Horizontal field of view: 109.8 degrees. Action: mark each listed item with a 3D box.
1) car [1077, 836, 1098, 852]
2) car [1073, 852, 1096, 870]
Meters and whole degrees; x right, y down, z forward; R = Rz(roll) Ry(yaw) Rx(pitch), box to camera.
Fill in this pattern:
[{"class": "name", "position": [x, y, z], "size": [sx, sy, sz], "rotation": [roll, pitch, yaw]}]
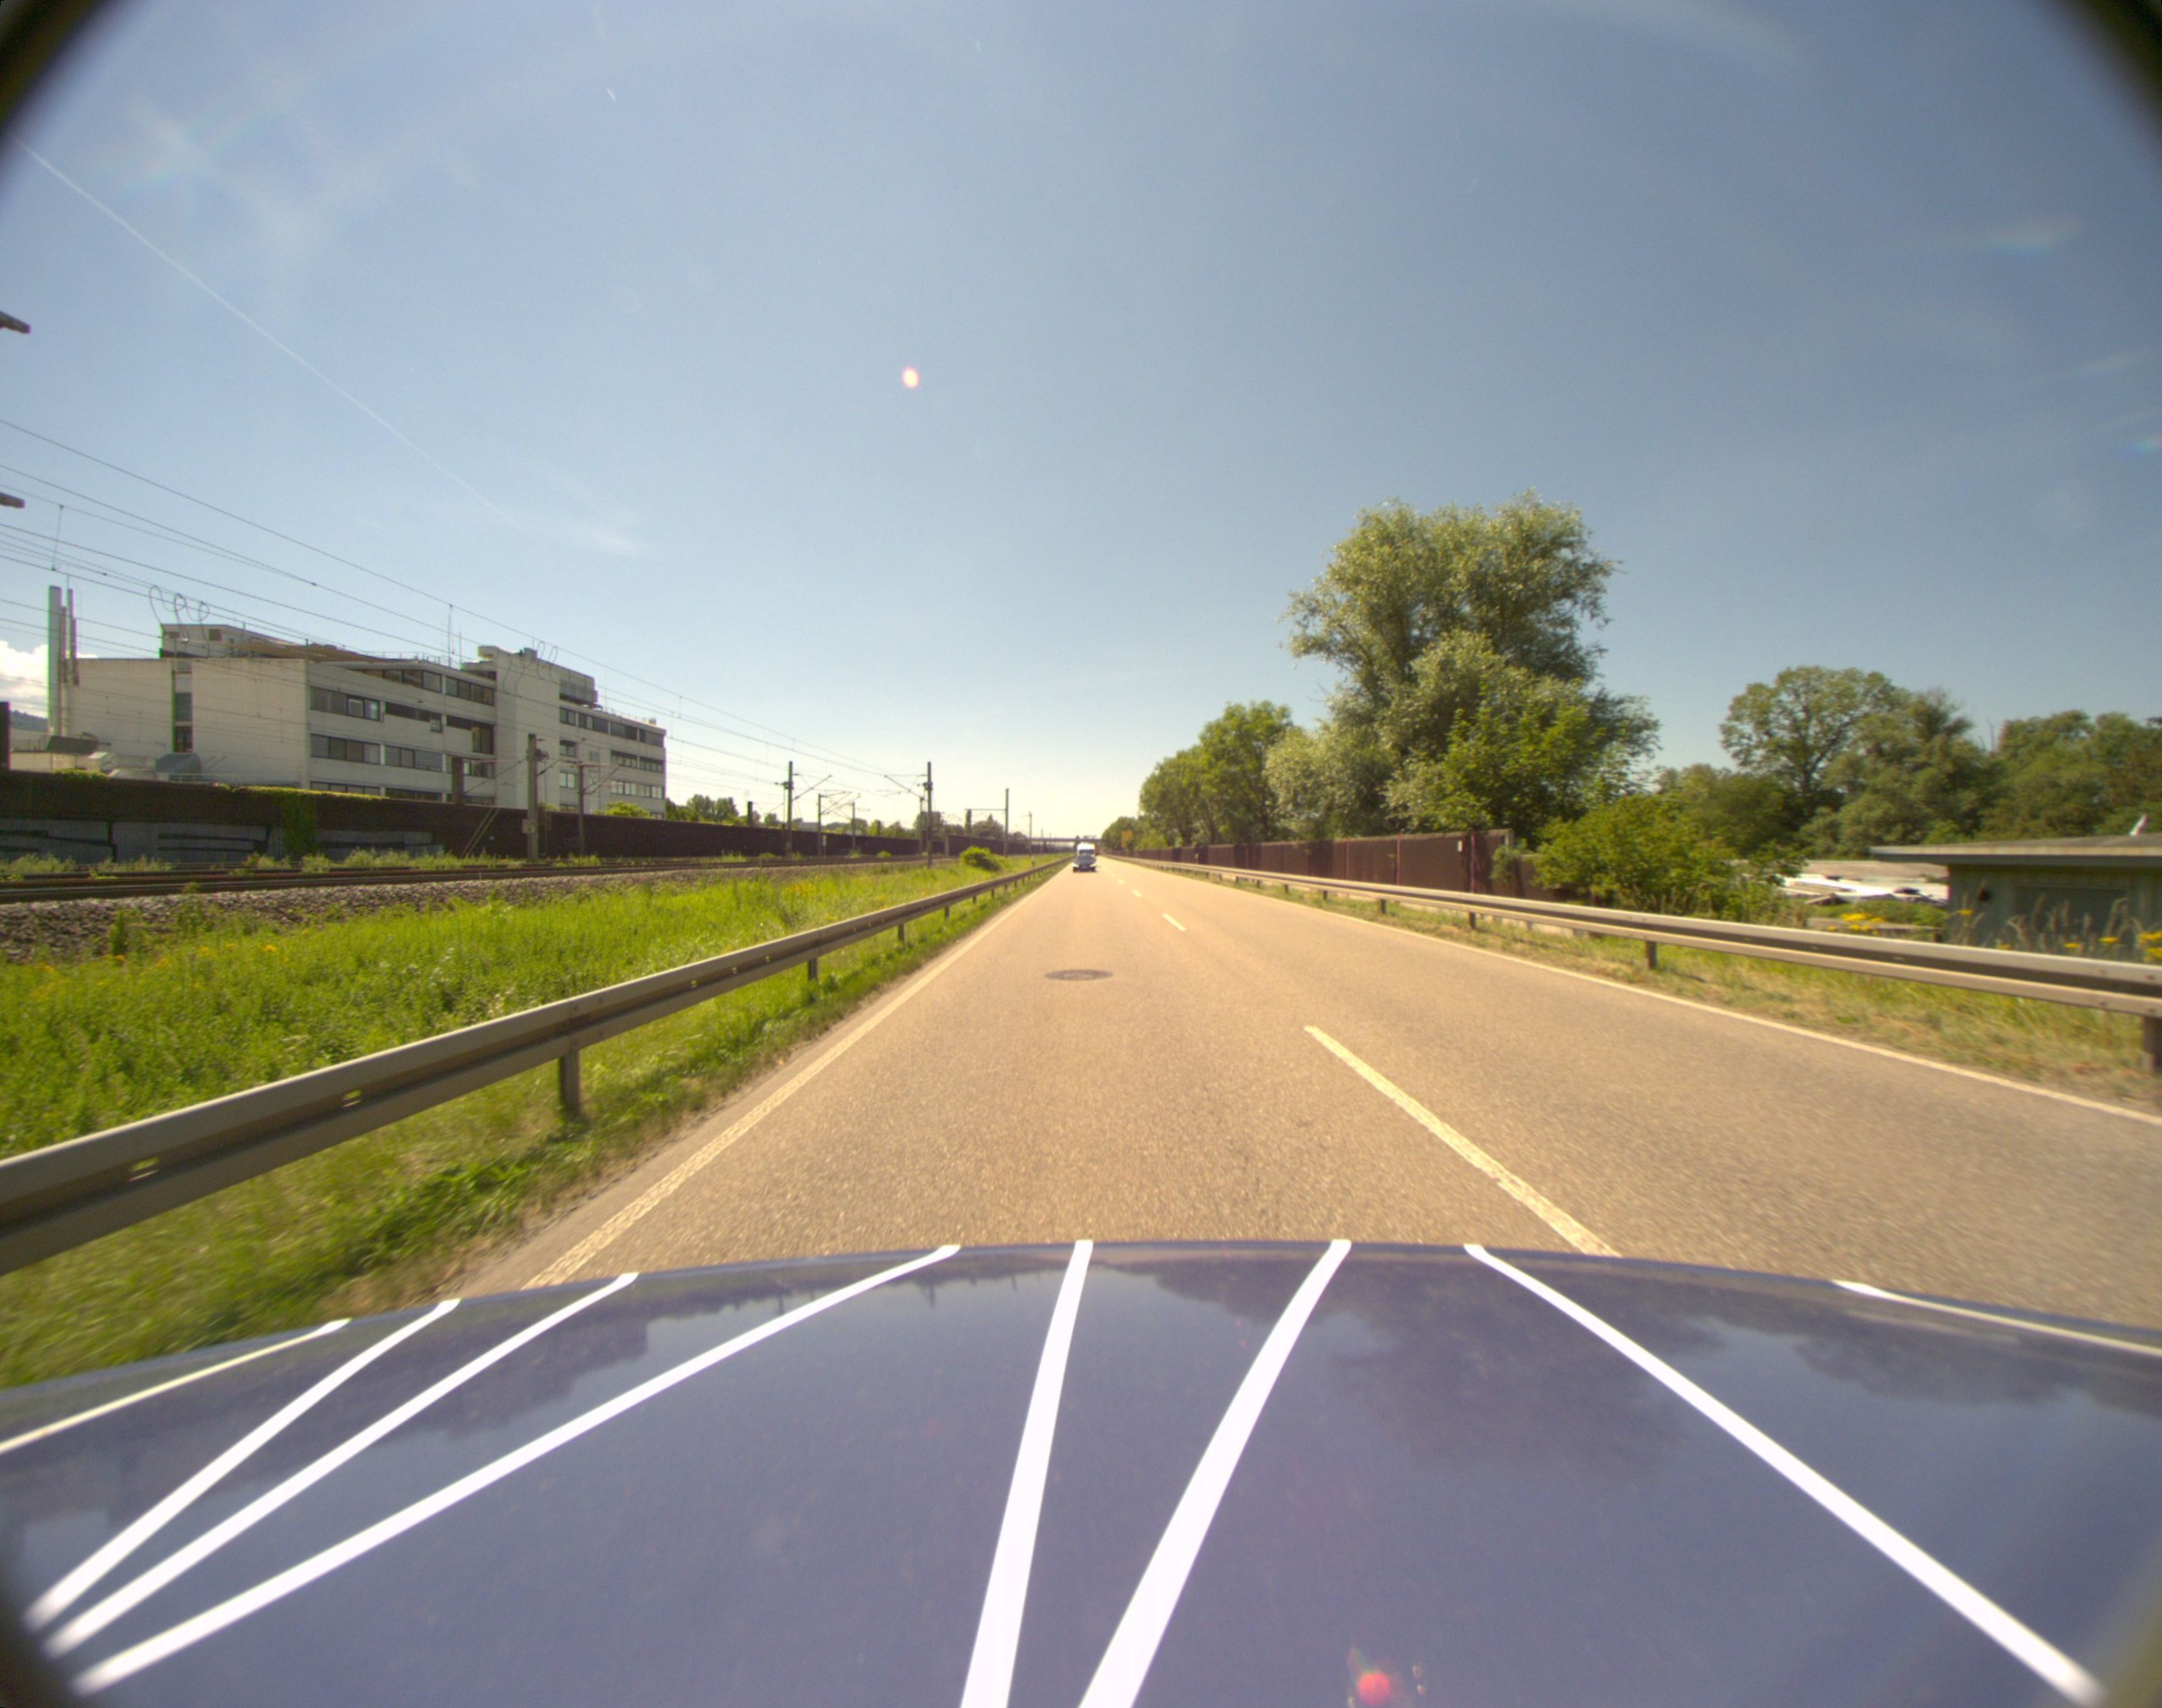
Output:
[{"class": "car", "position": [0.741, -1.111, 85.168], "size": [2.161, 1.702, 4.492], "rotation": [-2, 1, 0]}, {"class": "car", "position": [0.269, 0.532, 61.799], "size": [1.758, 1.313, 3.999], "rotation": [-2, 1, 0]}]
